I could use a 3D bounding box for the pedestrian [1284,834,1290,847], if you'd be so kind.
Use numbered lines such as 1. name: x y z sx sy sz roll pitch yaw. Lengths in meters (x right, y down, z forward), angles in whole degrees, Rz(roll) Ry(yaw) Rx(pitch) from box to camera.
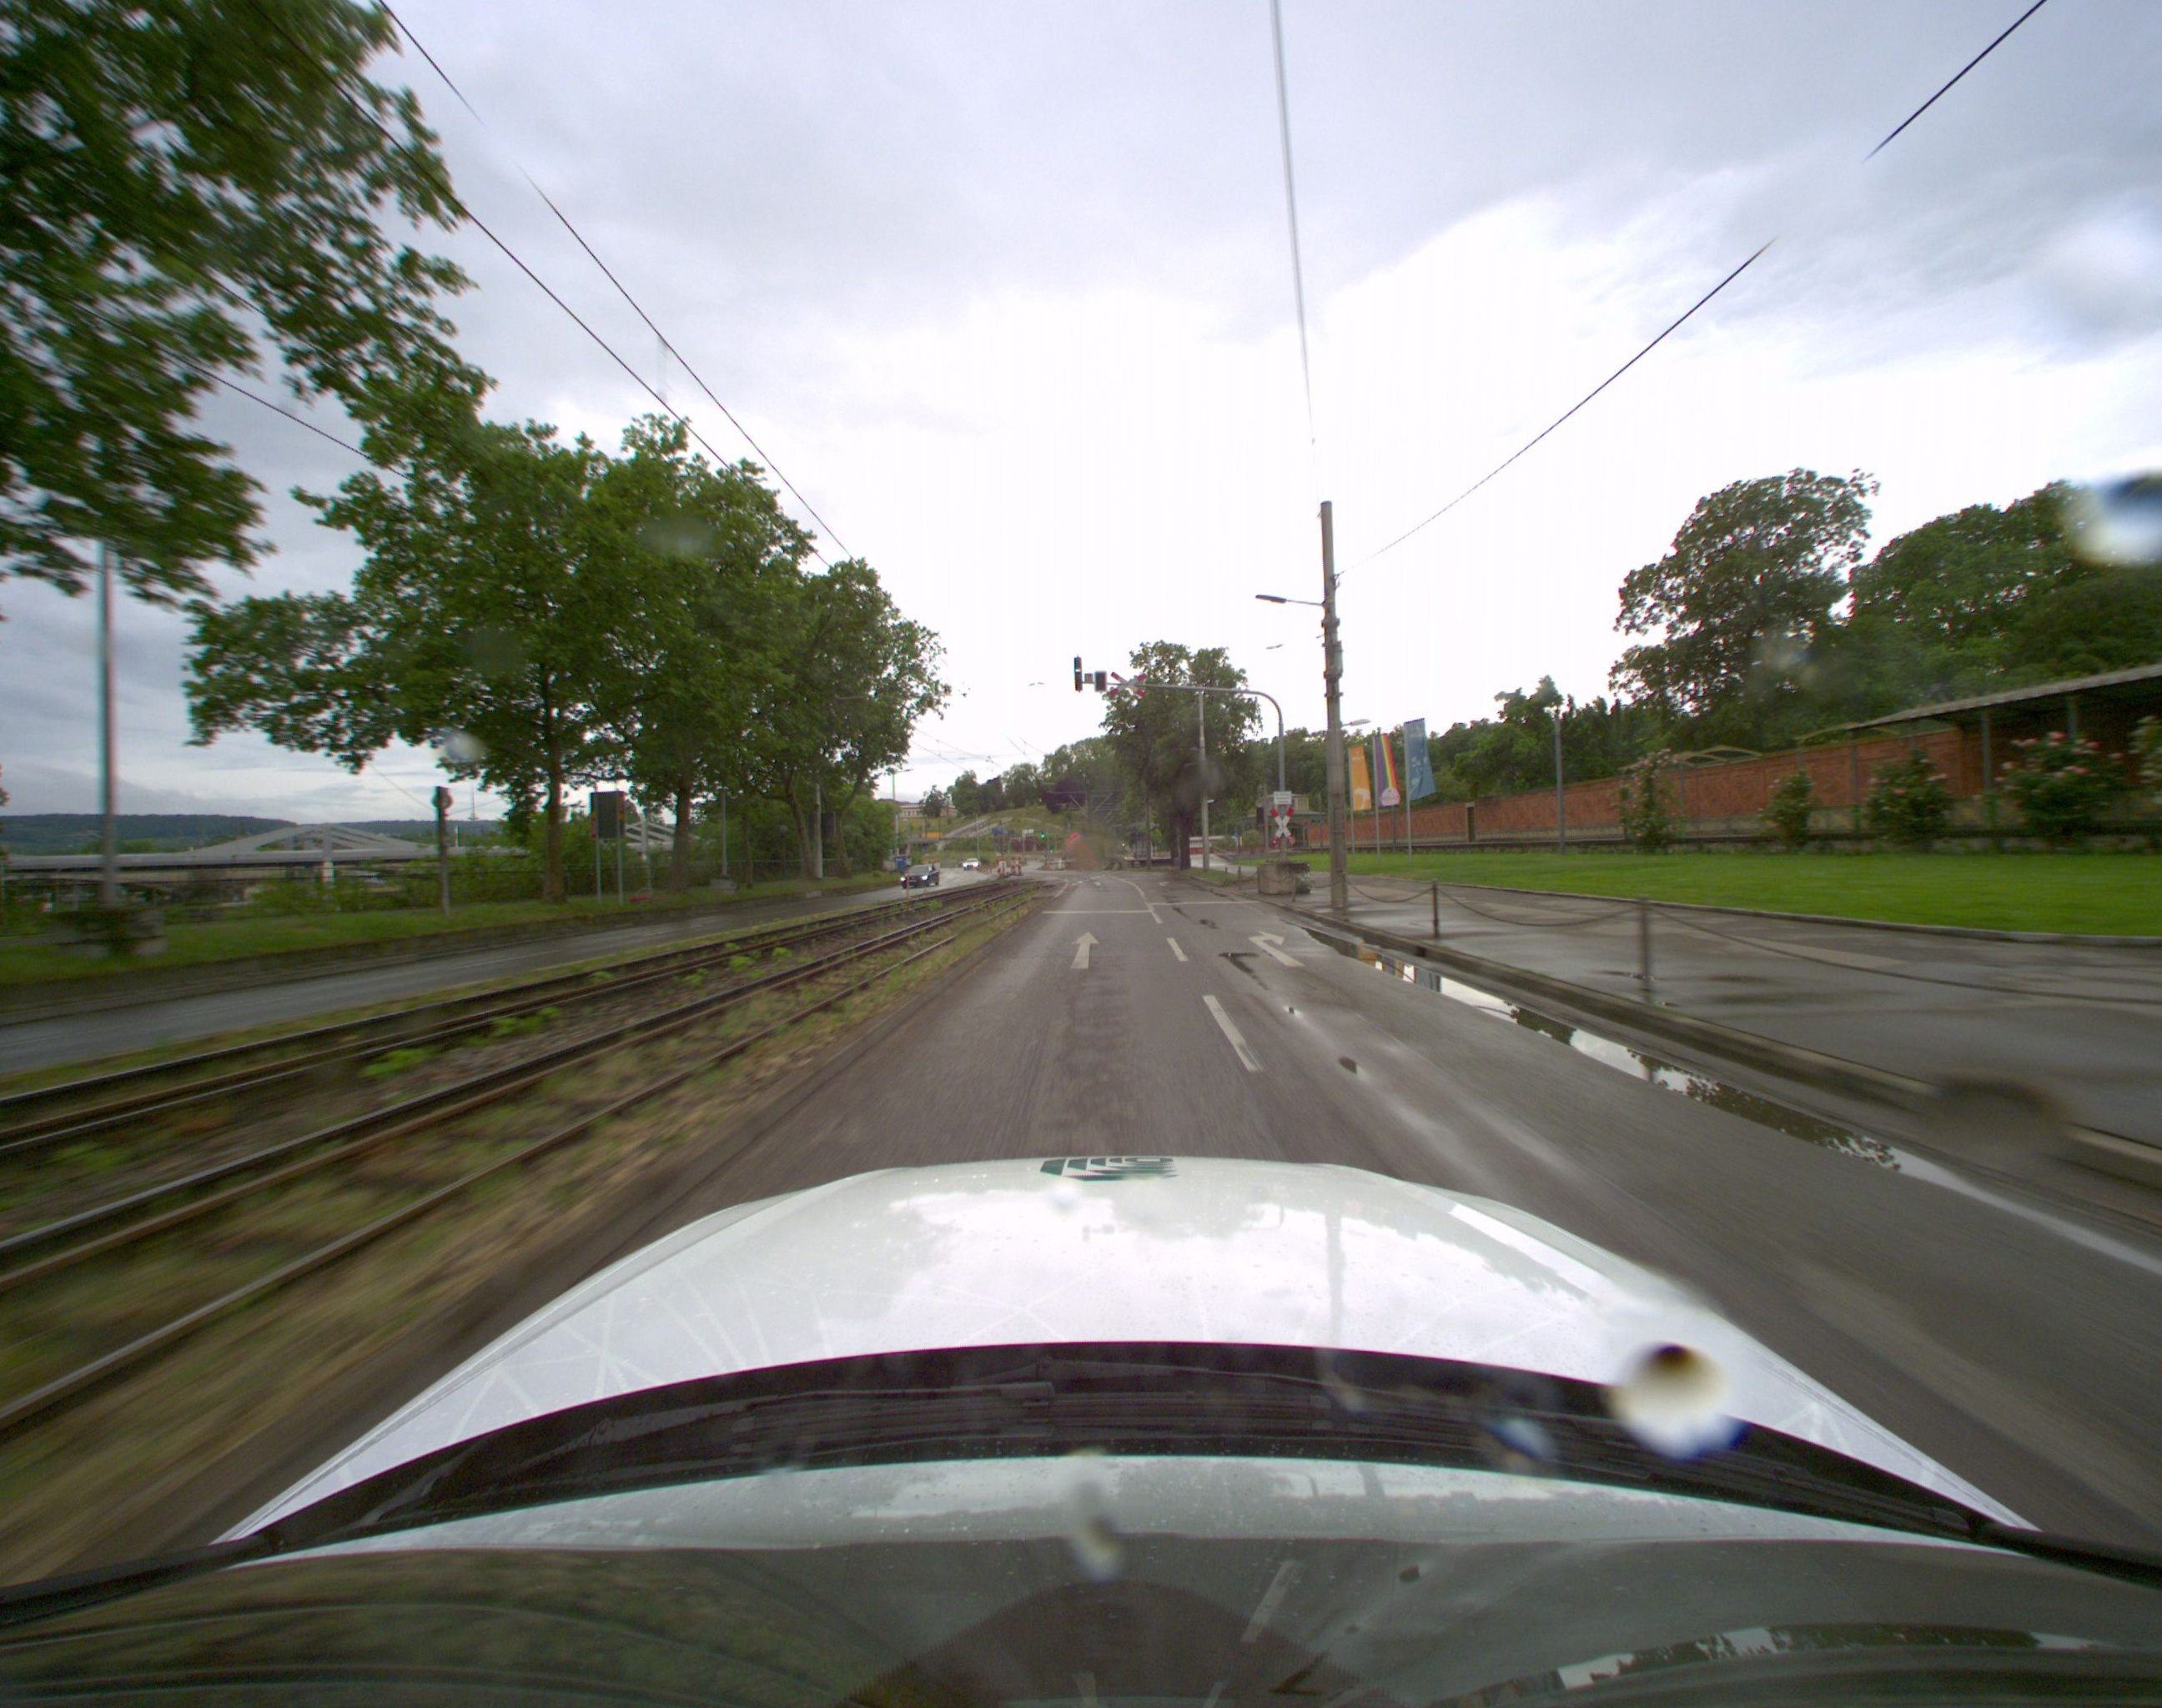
1. pedestrian: 26.077 -1.669 103.110 0.544 1.657 0.472 -3 -1 37

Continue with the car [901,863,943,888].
1. car: -10.683 1.398 54.995 1.740 1.430 4.561 -4 0 1

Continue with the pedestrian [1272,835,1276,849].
1. pedestrian: 24.654 -1.518 104.073 0.527 1.711 0.698 0 -2 14

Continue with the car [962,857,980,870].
1. car: -13.825 1.133 102.627 1.704 1.498 4.717 -3 0 -1

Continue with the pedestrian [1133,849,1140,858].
1. pedestrian: 6.549 -0.077 96.344 0.600 1.119 0.518 2 -1 -14
